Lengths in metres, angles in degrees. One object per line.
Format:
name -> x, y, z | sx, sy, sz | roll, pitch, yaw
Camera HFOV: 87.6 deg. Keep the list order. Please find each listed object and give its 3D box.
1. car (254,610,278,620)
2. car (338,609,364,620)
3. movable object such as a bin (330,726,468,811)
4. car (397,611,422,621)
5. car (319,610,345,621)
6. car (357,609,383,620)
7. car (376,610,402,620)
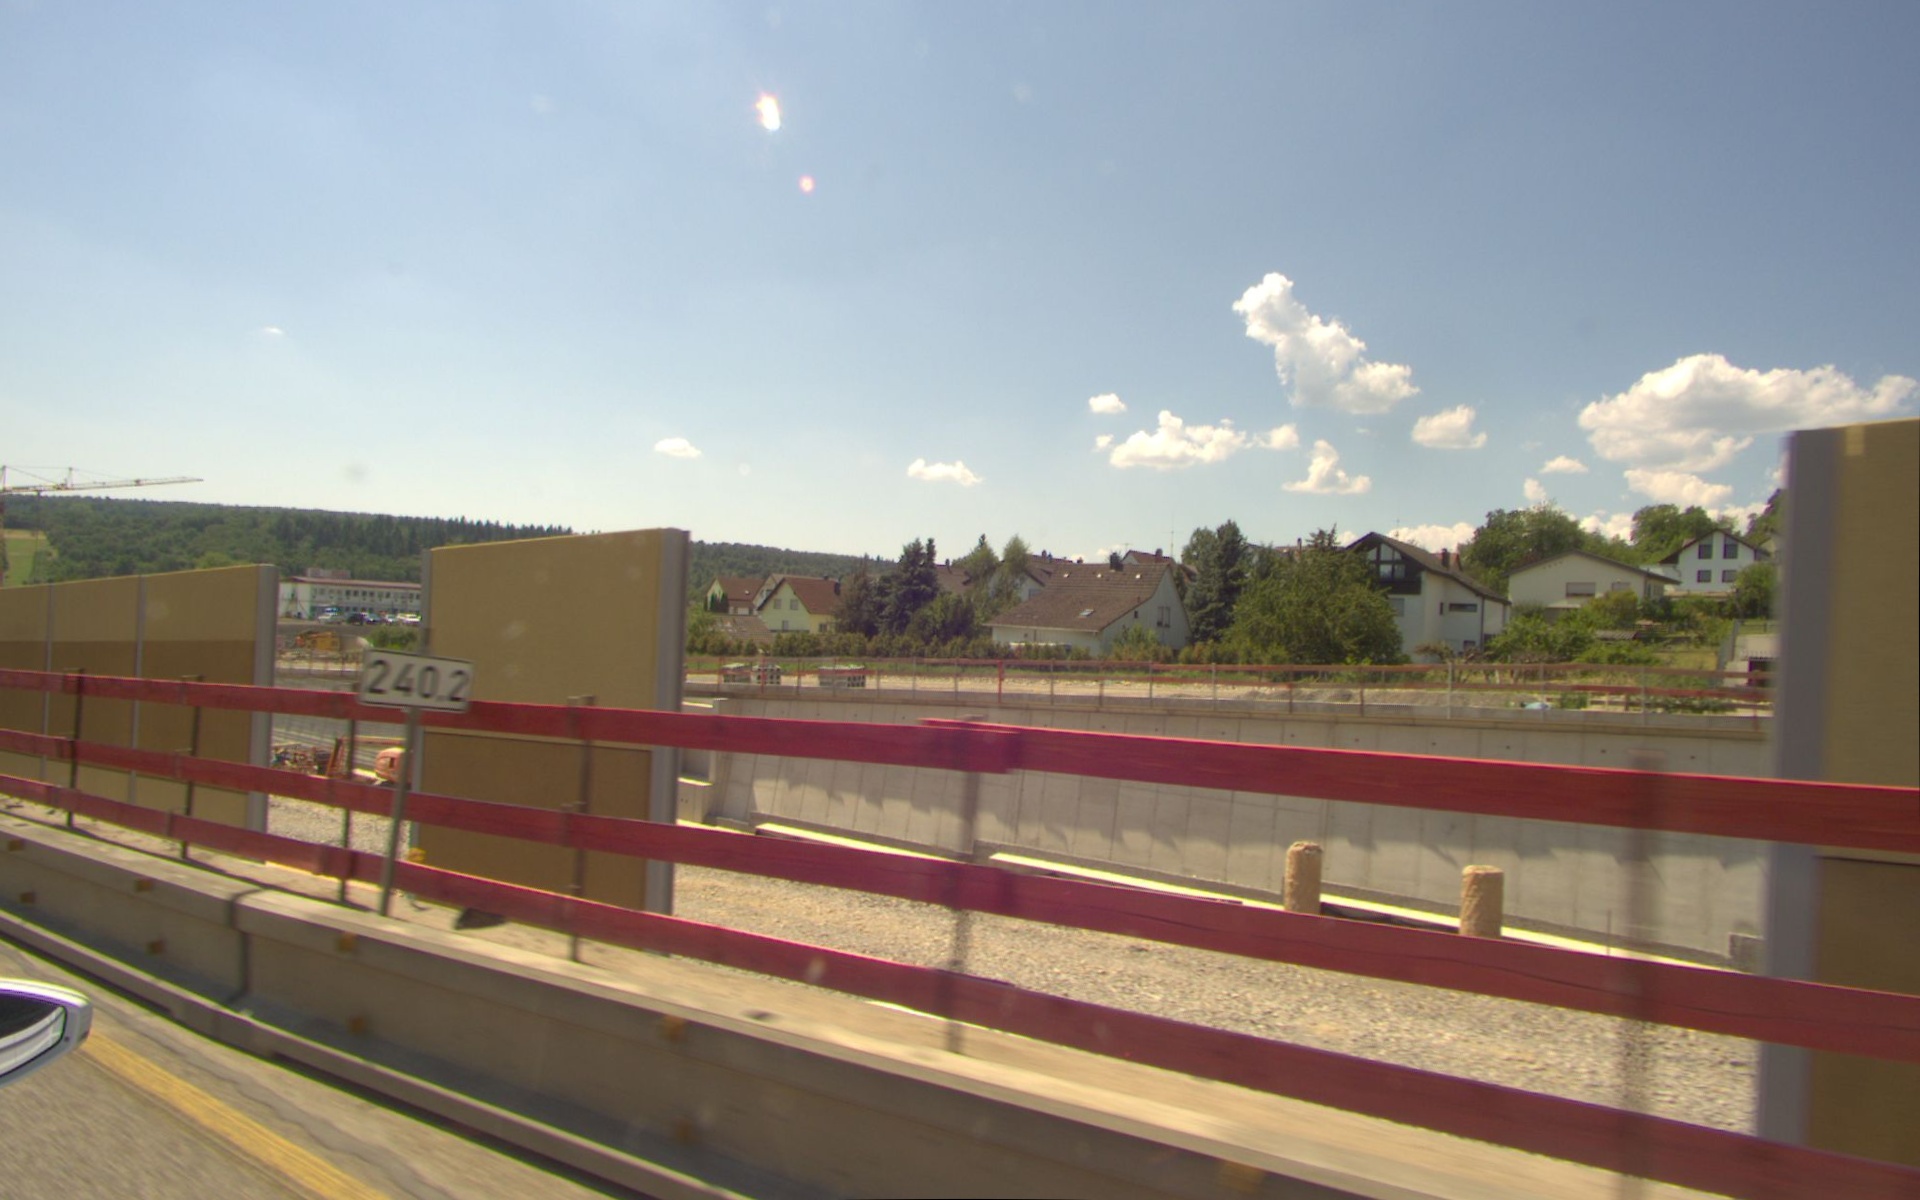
car -> -94.165, 2.026, 135.882 | 3.383, 1.333, 1.511 | -1, -2, 35
car -> -87.380, 2.111, 143.736 | 4.019, 1.537, 1.677 | -1, -2, 35
movable object such as a bin -> -20.606, 6.103, 36.798 | 4.390, 2.520, 2.605 | 0, -3, 32
car -> -82.274, 2.383, 149.585 | 4.019, 1.537, 1.710 | -1, -2, 35
car -> -88.952, 2.218, 141.750 | 4.019, 1.537, 1.677 | -1, -2, 35
car -> -85.934, 2.172, 145.838 | 4.019, 1.537, 1.677 | -1, -2, 35
car -> -84.297, 2.221, 147.760 | 4.019, 1.537, 1.704 | -1, -2, 35
